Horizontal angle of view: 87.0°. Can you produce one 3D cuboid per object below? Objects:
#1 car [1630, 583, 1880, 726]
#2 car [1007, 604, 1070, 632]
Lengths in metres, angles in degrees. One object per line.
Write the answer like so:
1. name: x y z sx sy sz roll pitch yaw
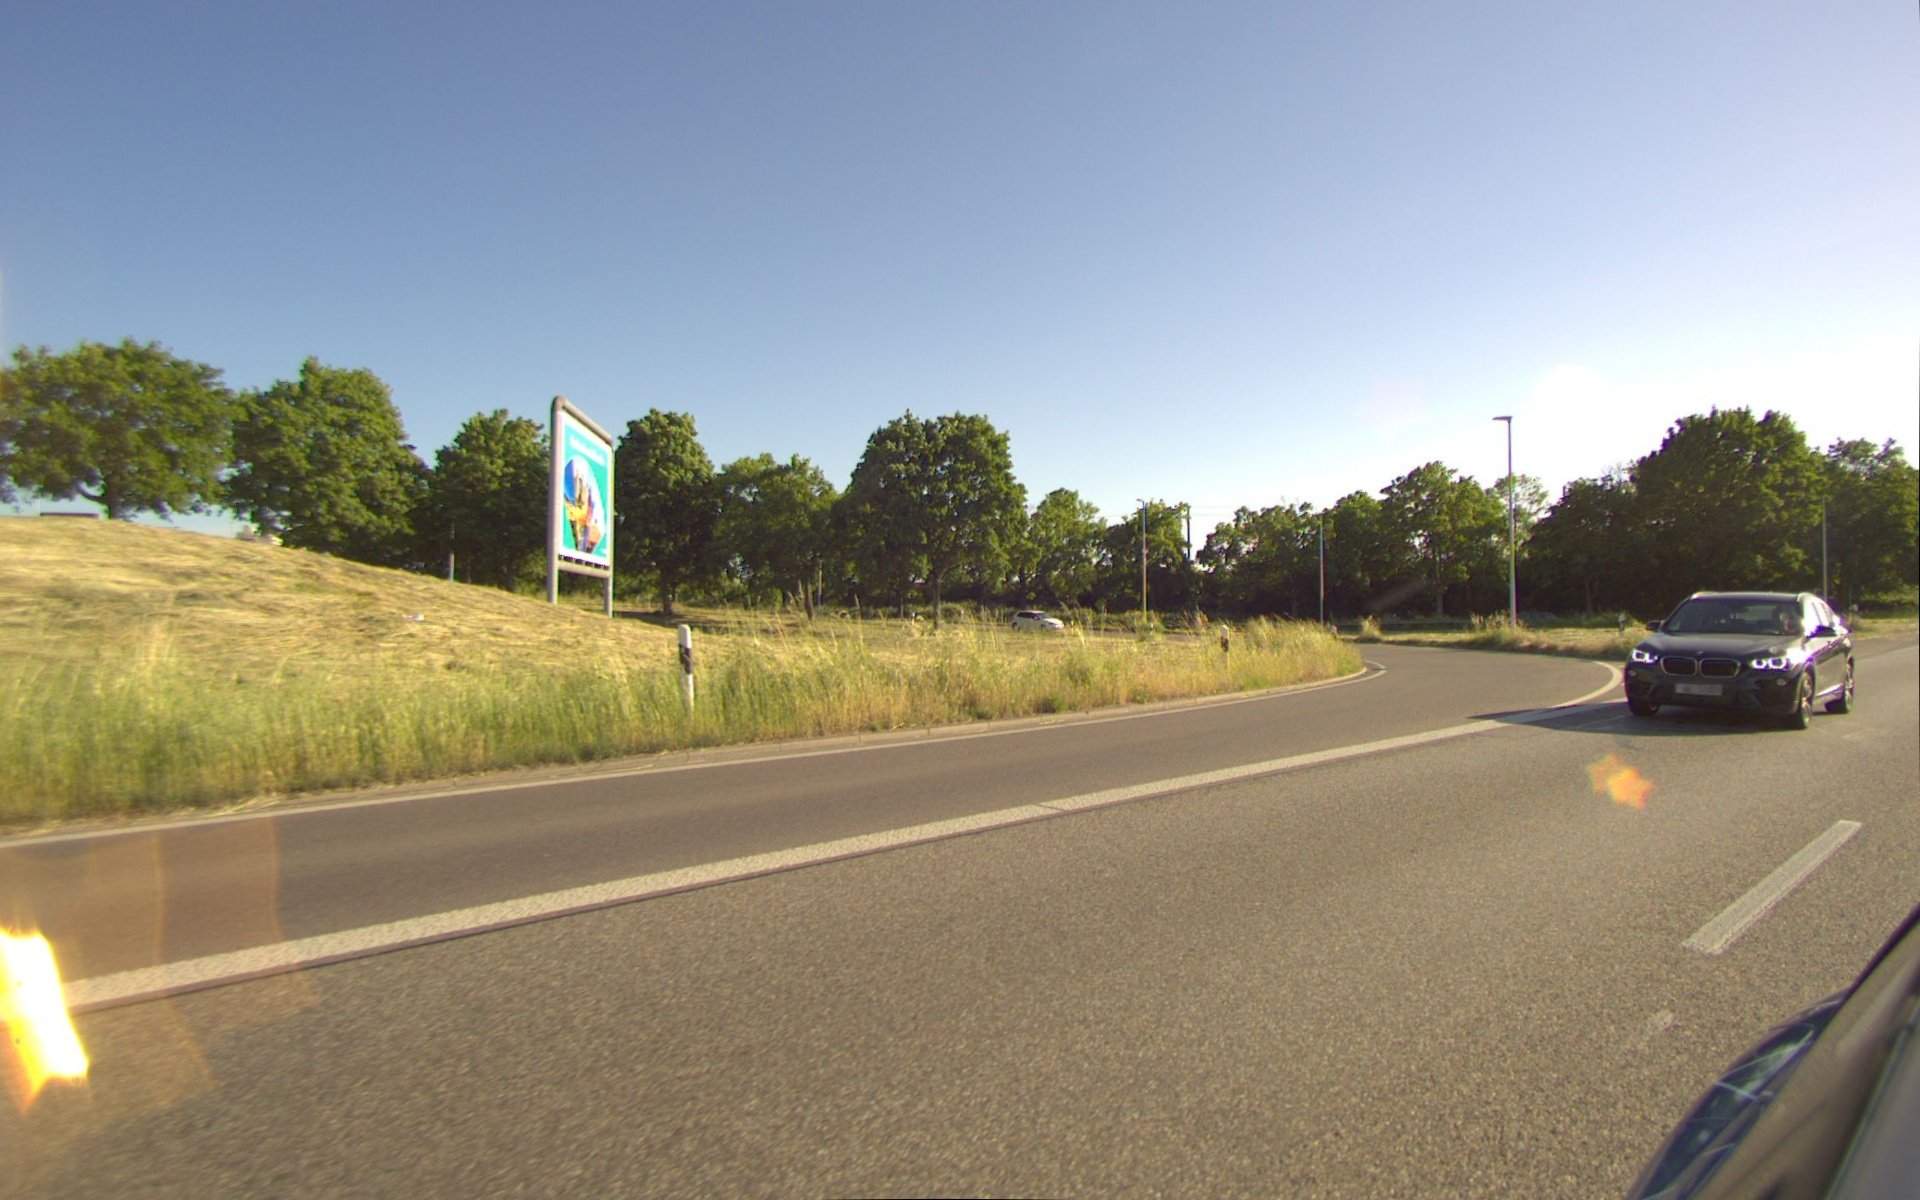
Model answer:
1. car: 10.626 0.588 13.405 4.441 1.593 1.759 0 1 -40
2. car: 5.324 1.192 68.484 3.986 1.713 1.840 1 0 43
